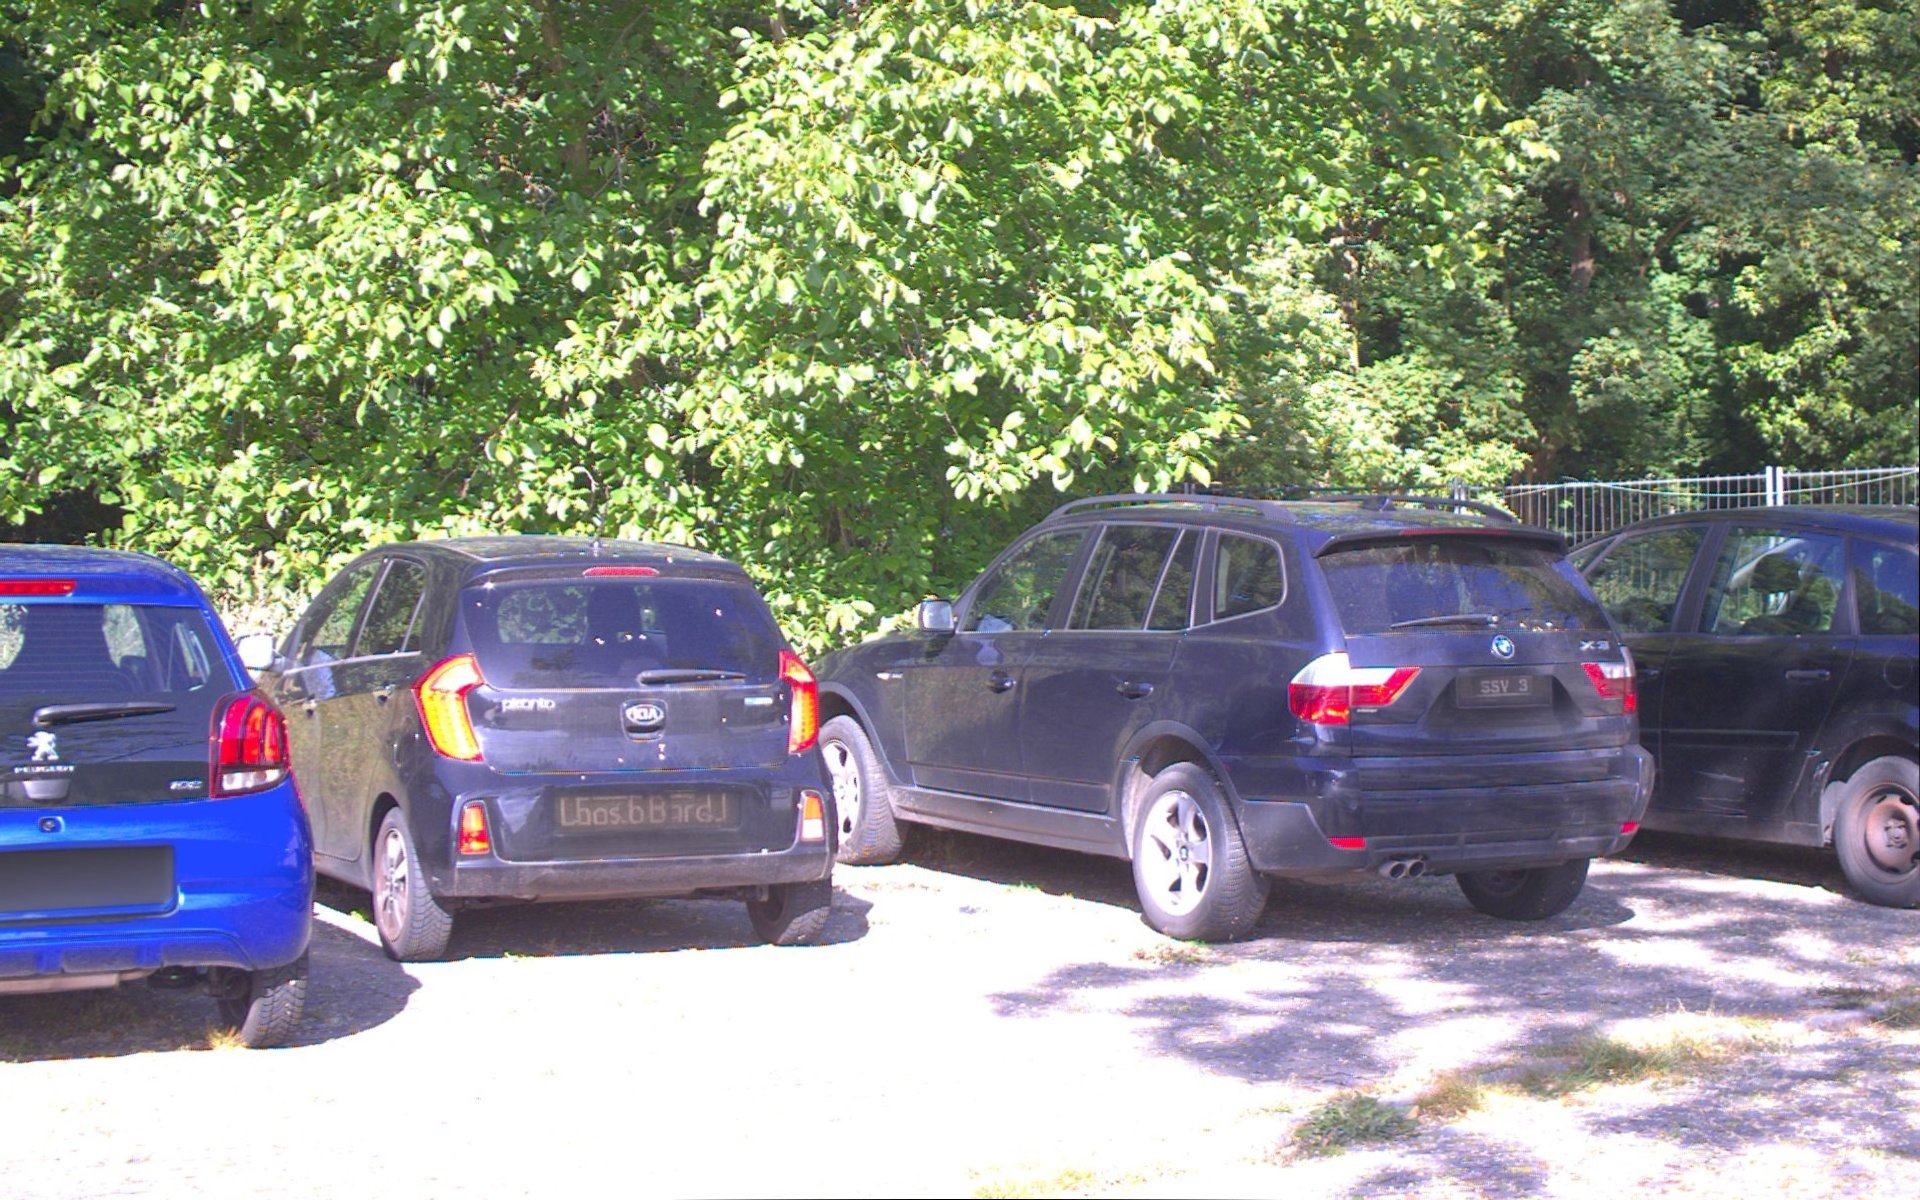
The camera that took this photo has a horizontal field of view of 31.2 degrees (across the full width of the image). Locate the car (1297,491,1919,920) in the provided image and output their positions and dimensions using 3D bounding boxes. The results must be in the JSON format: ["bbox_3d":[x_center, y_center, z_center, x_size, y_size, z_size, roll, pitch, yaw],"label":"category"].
[{"bbox_3d":[3.662,0.381,15.611,1.788,1.646,4.300,-1,3,-37],"label":"car"}]

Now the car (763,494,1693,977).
[{"bbox_3d":[0.924,0.407,14.300,1.811,1.650,4.191,-1,2,-29],"label":"car"}]

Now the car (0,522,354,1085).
[{"bbox_3d":[-3.299,0.511,10.997,1.708,1.488,3.664,0,2,-26],"label":"car"}]

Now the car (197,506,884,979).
[{"bbox_3d":[-1.762,0.440,13.356,1.672,1.510,3.552,1,2,-23],"label":"car"}]
